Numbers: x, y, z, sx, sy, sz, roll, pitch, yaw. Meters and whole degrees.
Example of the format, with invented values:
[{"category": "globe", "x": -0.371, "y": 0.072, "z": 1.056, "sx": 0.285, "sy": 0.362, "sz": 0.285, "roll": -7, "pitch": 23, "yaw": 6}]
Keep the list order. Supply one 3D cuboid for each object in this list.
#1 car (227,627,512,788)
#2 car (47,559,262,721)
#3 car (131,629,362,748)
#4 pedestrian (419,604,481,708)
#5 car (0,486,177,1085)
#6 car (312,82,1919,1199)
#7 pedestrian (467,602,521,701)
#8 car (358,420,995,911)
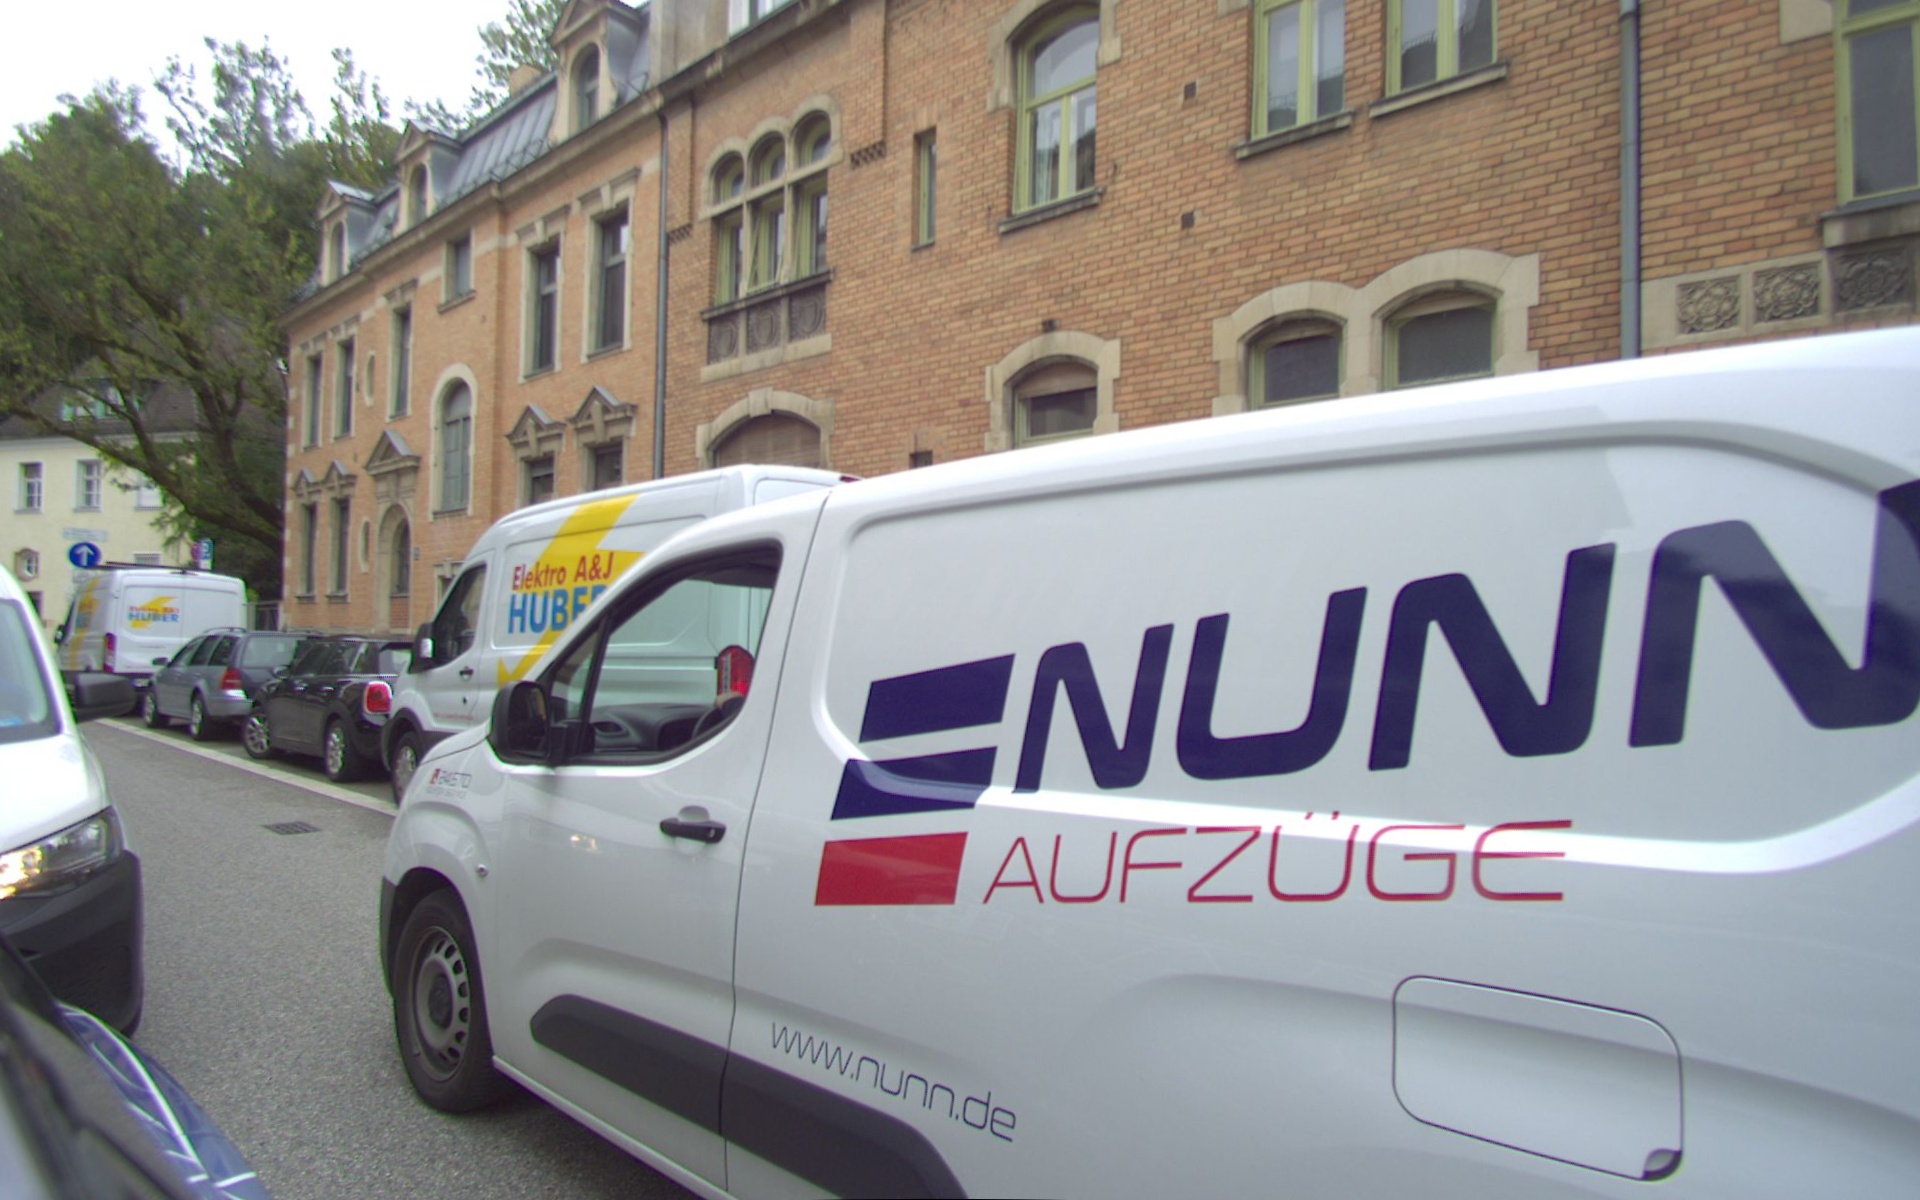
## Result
[{"category": "car", "x": -6.453, "y": 1.058, "z": 10.934, "sx": 3.538, "sy": 1.454, "sz": 1.507, "roll": -2, "pitch": -5, "yaw": 40}, {"category": "car", "x": -14.535, "y": 0.762, "z": 18.186, "sx": 4.418, "sy": 2.560, "sz": 2.091, "roll": -2, "pitch": -6, "yaw": 41}, {"category": "car", "x": -10.213, "y": 1.182, "z": 14.392, "sx": 3.981, "sy": 1.454, "sz": 1.673, "roll": -2, "pitch": -5, "yaw": 40}, {"category": "pedestrian", "x": -8.337, "y": 0.909, "z": 16.547, "sx": 0.675, "sy": 1.645, "sz": 0.625, "roll": -1, "pitch": -4, "yaw": 41}, {"category": "car", "x": -4.694, "y": 0.548, "z": 3.978, "sx": 3.998, "sy": 1.785, "sz": 1.753, "roll": -1, "pitch": -4, "yaw": 42}, {"category": "car", "x": 0.041, "y": 0.564, "z": 2.653, "sx": 4.572, "sy": 1.817, "sz": 1.752, "roll": -1, "pitch": -5, "yaw": 43}, {"category": "pedestrian", "x": -7.936, "y": 0.877, "z": 17.253, "sx": 0.467, "sy": 1.645, "sz": 0.625, "roll": -1, "pitch": -4, "yaw": 41}, {"category": "car", "x": -2.405, "y": 0.409, "z": 7.602, "sx": 5.219, "sy": 2.497, "sz": 1.961, "roll": -1, "pitch": -4, "yaw": 40}]
